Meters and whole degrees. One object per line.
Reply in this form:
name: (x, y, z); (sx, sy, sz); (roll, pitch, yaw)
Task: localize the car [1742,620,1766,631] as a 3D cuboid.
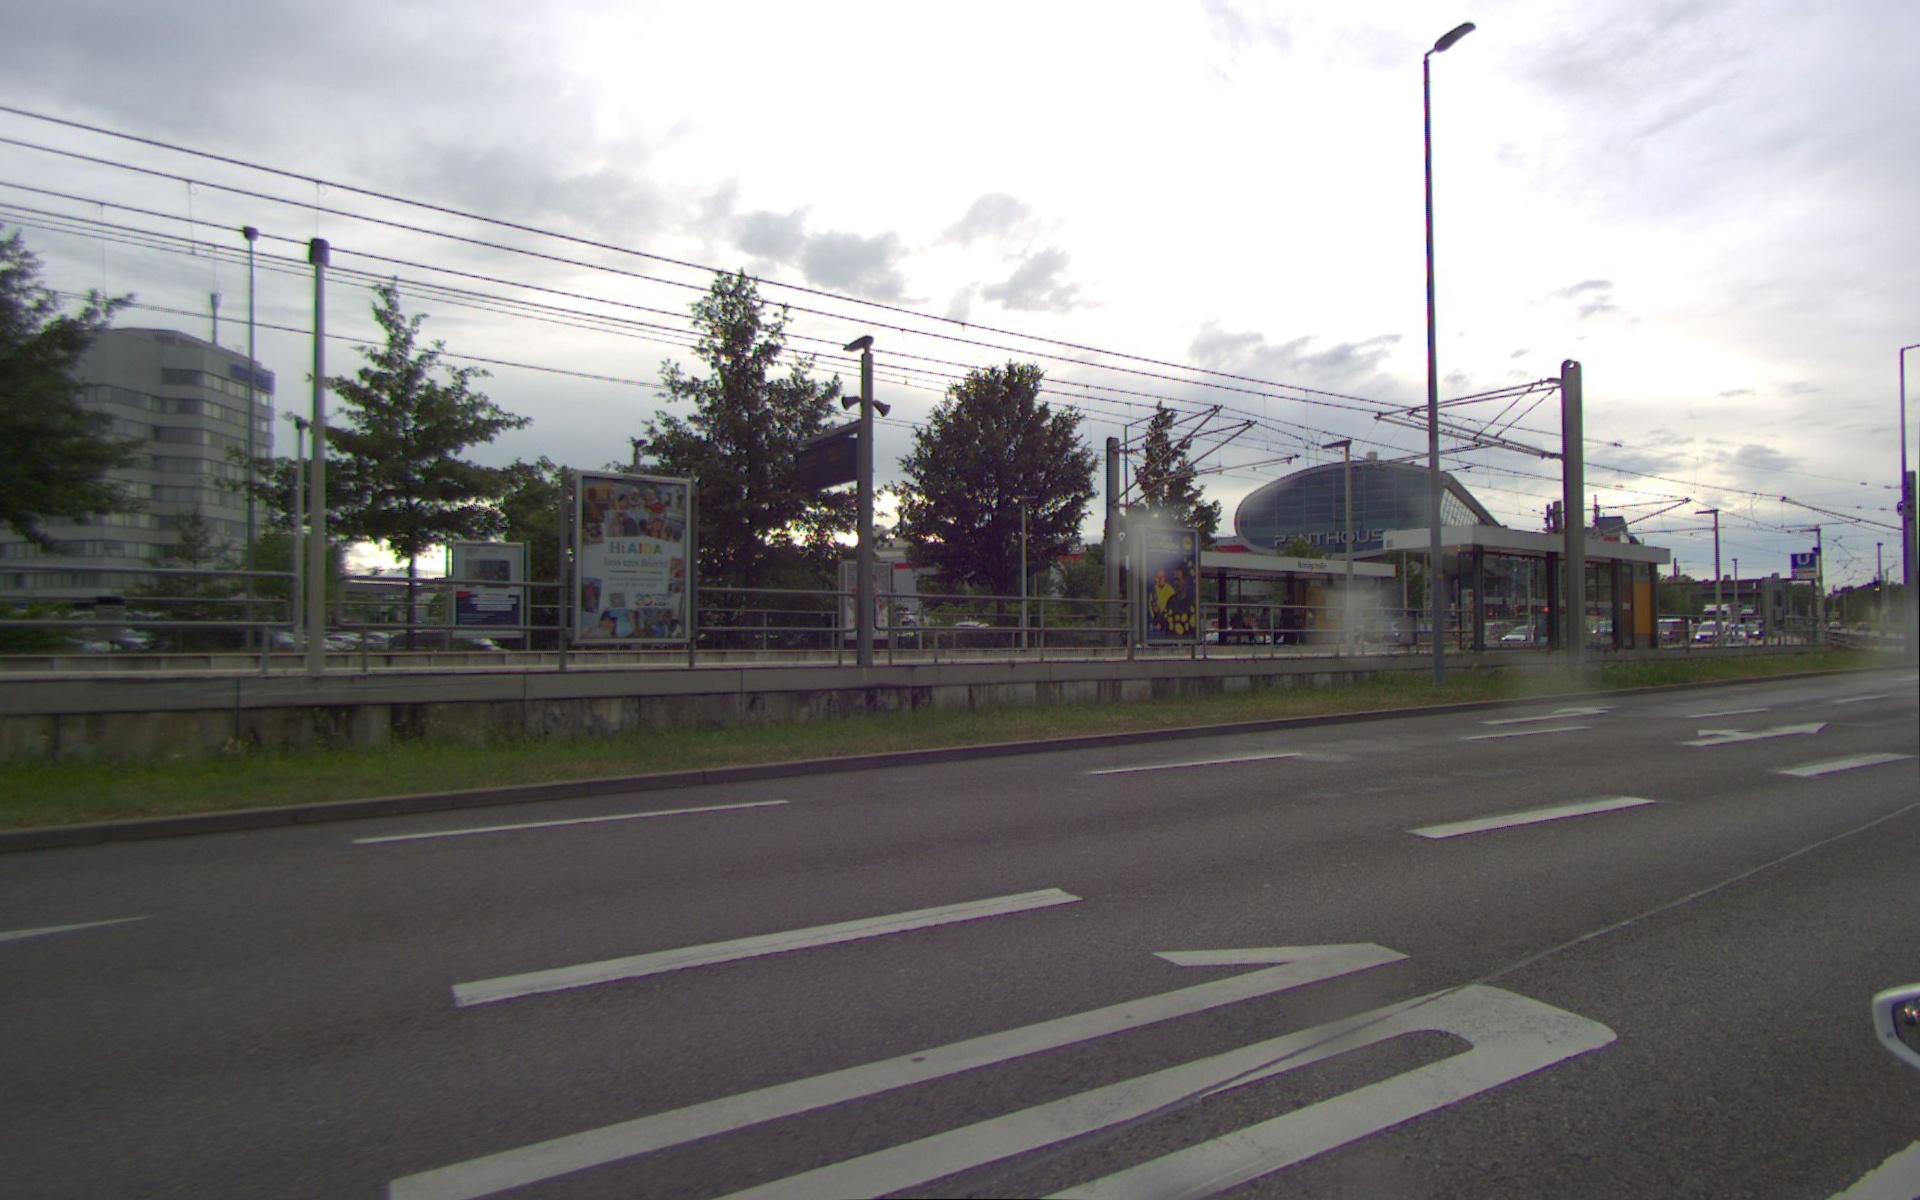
car: (96.998, 3.117, 122.690); (1.888, 1.281, 4.387); (1, -1, 44)

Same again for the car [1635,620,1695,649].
car: (45.791, 2.217, 65.175); (4.989, 1.754, 1.977); (2, -1, -40)

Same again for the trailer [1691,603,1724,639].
trailer: (90.297, 2.525, 121.269); (2.761, 4.161, 11.392); (-2, -2, 39)

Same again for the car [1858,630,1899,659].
car: (71.899, 3.461, 78.624); (4.310, 2.040, 1.759); (0, 0, -39)

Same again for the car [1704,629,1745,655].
car: (63.354, 3.496, 83.250); (4.311, 2.040, 1.758); (2, -1, -39)

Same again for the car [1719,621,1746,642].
car: (64.686, 2.622, 84.090); (1.511, 1.688, 4.246); (1, -1, 42)

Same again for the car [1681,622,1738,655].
car: (54.769, 2.800, 73.379); (5.096, 2.244, 1.979); (2, -1, -37)

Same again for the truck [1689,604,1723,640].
truck: (87.251, 2.532, 117.445); (2.798, 4.048, 5.959); (-2, -2, 39)
